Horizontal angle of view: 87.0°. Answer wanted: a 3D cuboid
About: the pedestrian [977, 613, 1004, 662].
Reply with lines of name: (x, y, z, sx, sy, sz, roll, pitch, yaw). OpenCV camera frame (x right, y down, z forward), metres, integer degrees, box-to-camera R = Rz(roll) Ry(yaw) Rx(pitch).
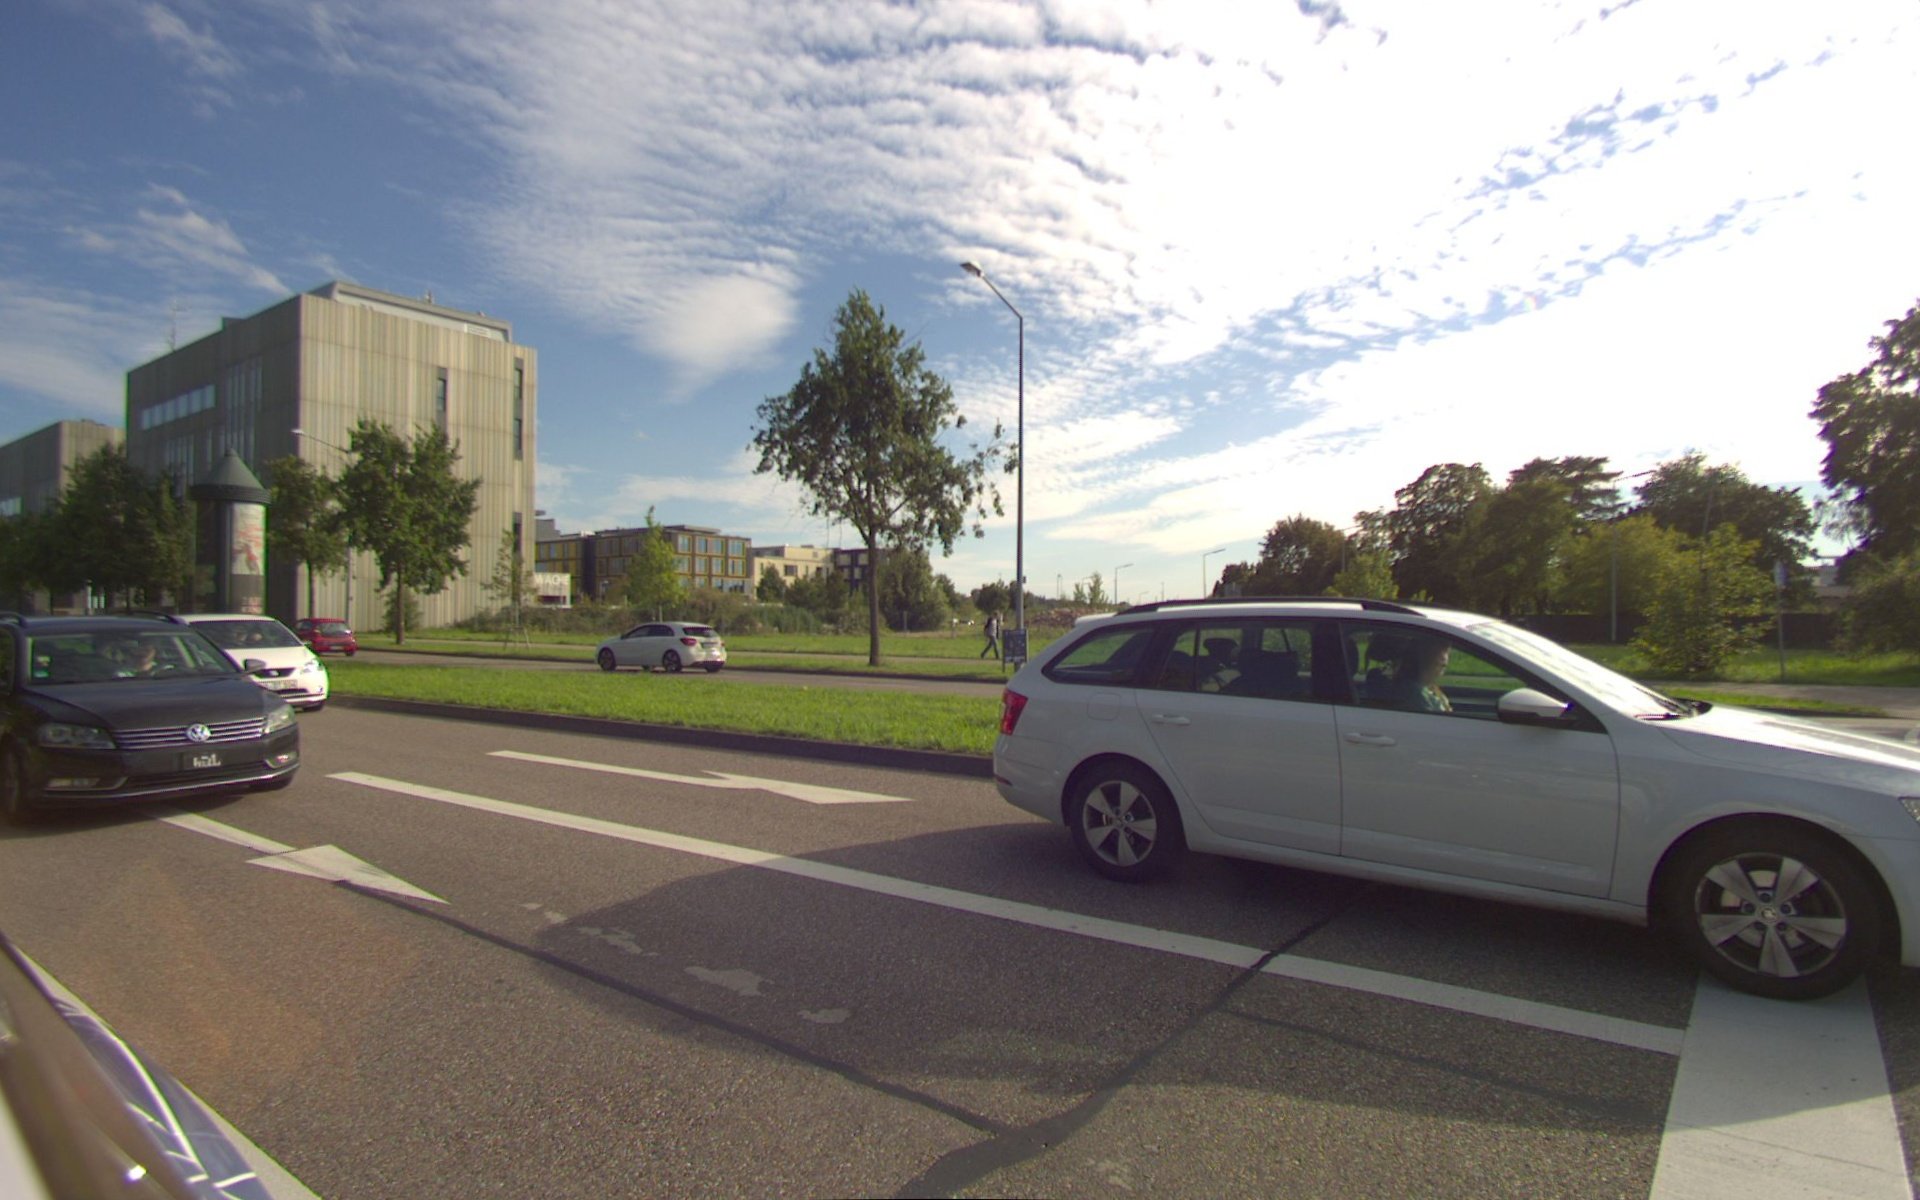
pedestrian: (1.040, 1.286, 34.675, 0.657, 1.642, 0.621, -2, -1, 38)

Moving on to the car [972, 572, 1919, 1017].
car: (2.442, 0.656, 5.068, 4.633, 1.456, 1.832, -1, -1, 39)

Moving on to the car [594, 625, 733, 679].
car: (-8.576, 1.456, 29.189, 3.981, 1.445, 1.667, -1, -2, 33)

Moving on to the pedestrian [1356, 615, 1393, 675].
pedestrian: (10.906, 1.177, 26.623, 0.755, 1.519, 0.621, -1, 1, 36)

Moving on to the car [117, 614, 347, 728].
car: (-10.904, 0.963, 15.094, 3.652, 1.475, 1.746, -1, -1, 36)

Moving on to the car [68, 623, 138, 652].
car: (-44.491, 1.909, 52.540, 4.059, 1.445, 1.834, -1, -1, 36)

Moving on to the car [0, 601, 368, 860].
car: (-7.163, 0.844, 8.569, 4.836, 1.578, 1.976, -1, 1, 37)

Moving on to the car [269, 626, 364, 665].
car: (-24.891, 1.729, 39.123, 3.577, 1.445, 1.668, -1, -2, 31)
